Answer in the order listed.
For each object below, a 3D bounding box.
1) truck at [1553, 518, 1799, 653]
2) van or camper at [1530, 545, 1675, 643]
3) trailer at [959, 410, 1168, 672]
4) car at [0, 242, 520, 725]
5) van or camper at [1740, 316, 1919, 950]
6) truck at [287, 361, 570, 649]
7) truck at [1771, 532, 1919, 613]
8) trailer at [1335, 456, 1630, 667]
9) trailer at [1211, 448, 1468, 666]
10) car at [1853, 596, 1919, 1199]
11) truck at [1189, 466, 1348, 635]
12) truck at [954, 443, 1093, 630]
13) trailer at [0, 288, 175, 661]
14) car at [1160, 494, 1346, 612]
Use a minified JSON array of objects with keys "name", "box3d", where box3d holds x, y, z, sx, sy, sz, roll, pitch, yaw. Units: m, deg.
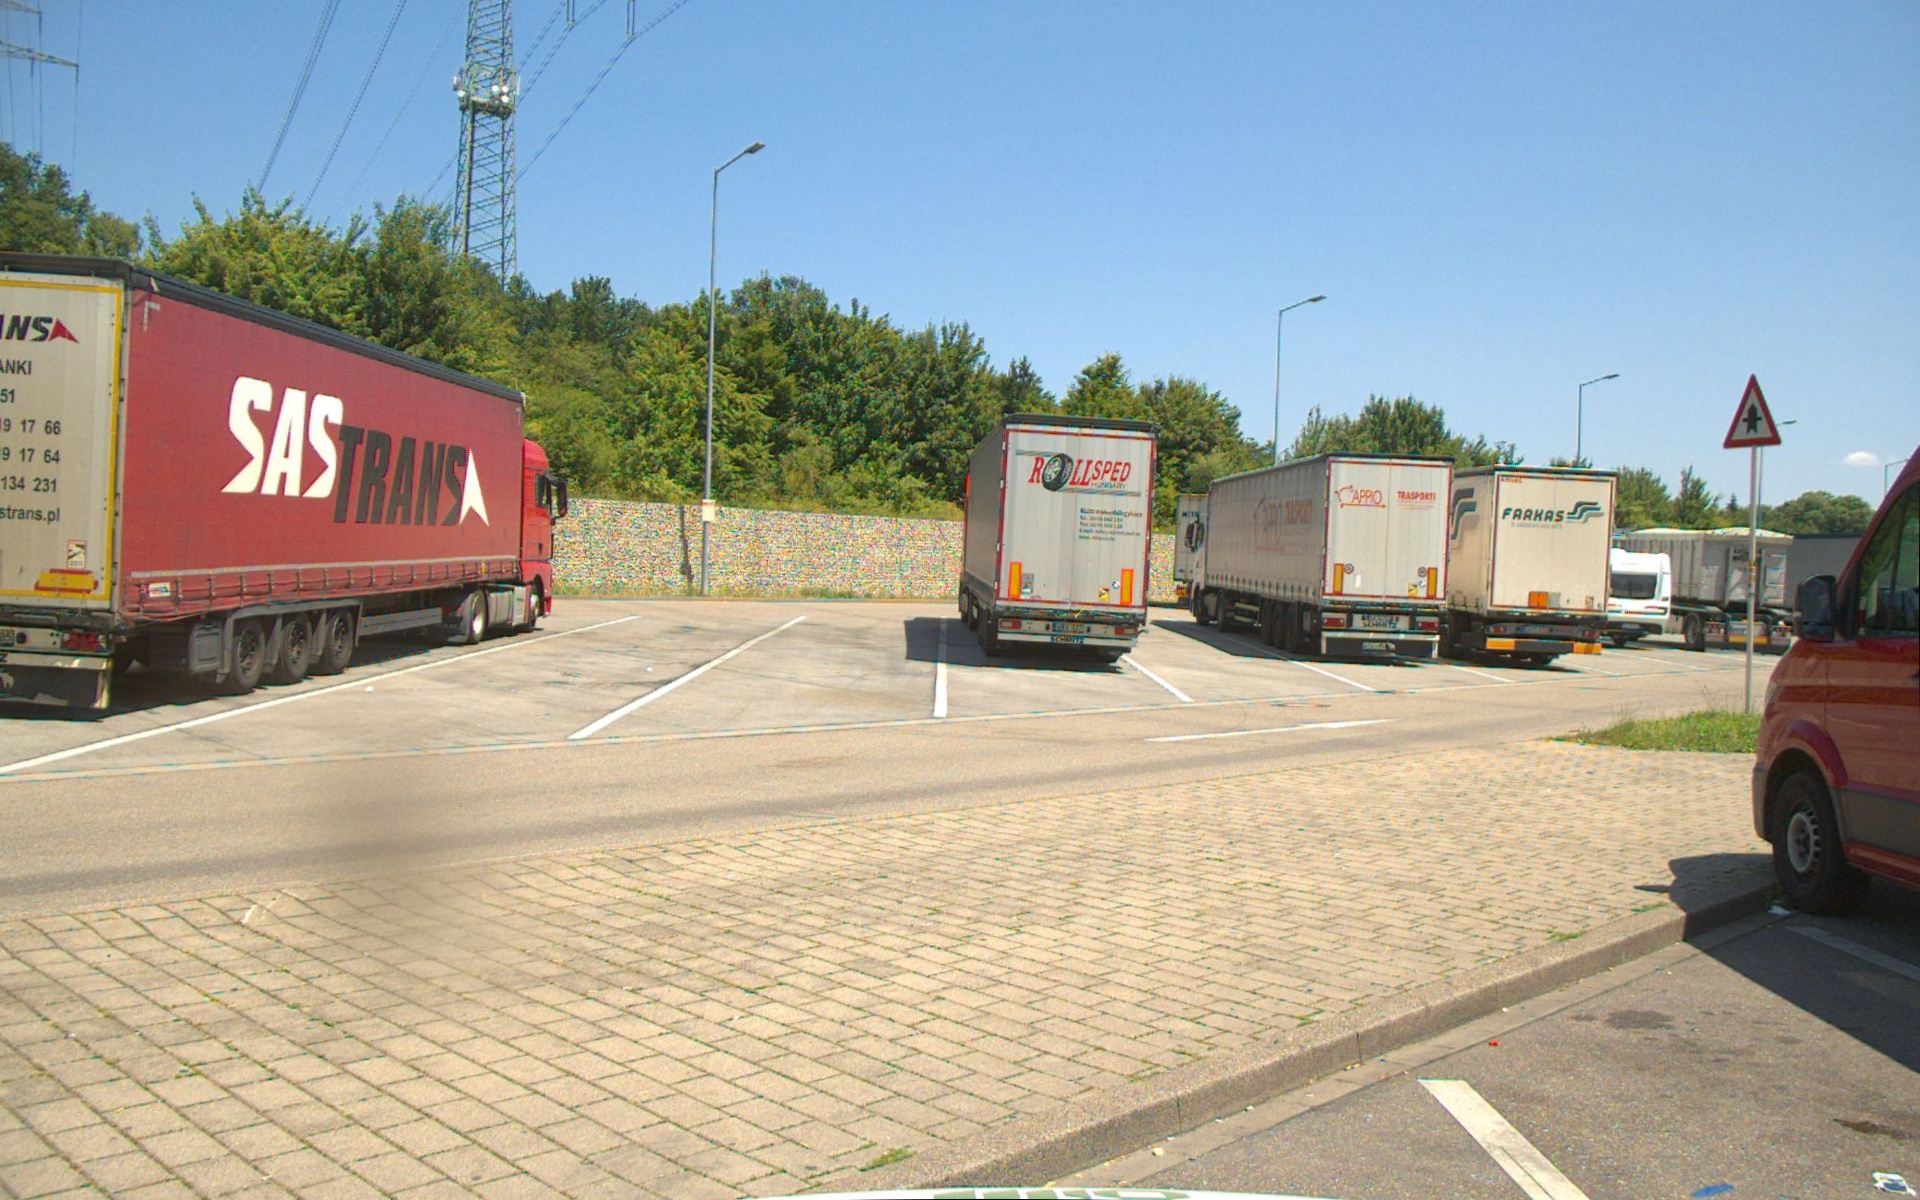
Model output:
[{"name":"truck","box3d":[21.751,-0.643,51.230,2.437,3.630,11.423,2,2,-1]},{"name":"van or camper","box3d":[18.270,-0.217,47.334,2.061,2.606,5.372,1,1,0]},{"name":"trailer","box3d":[1.656,-1.238,33.658,2.809,4.107,14.238,2,2,-2]},{"name":"car","box3d":[-8.674,-1.282,20.949,2.641,4.184,12.935,2,2,0]},{"name":"van or camper","box3d":[4.990,0.175,5.547,1.954,2.700,6.482,1,1,3]},{"name":"truck","box3d":[-8.695,-1.530,27.866,2.641,4.184,6.239,2,2,0]},{"name":"truck","box3d":[34.706,-1.058,63.622,2.082,2.869,9.777,1,1,-1]},{"name":"trailer","box3d":[11.825,-1.020,39.210,2.808,4.107,12.438,2,2,-1]},{"name":"trailer","box3d":[8.248,-1.087,38.092,2.808,4.107,12.438,2,2,-1]},{"name":"car","box3d":[2.540,0.795,1.100,1.584,1.509,3.762,1,1,-6]},{"name":"truck","box3d":[8.170,-1.382,44.723,2.808,4.107,6.956,2,2,-1]},{"name":"truck","box3d":[1.427,-1.565,40.738,2.809,4.107,7.026,2,2,-2]},{"name":"trailer","box3d":[-12.545,-1.408,17.150,2.756,4.341,12.940,2,2,-1]},{"name":"car","box3d":[11.199,-1.711,62.488,2.642,4.114,8.414,5,3,42]}]
